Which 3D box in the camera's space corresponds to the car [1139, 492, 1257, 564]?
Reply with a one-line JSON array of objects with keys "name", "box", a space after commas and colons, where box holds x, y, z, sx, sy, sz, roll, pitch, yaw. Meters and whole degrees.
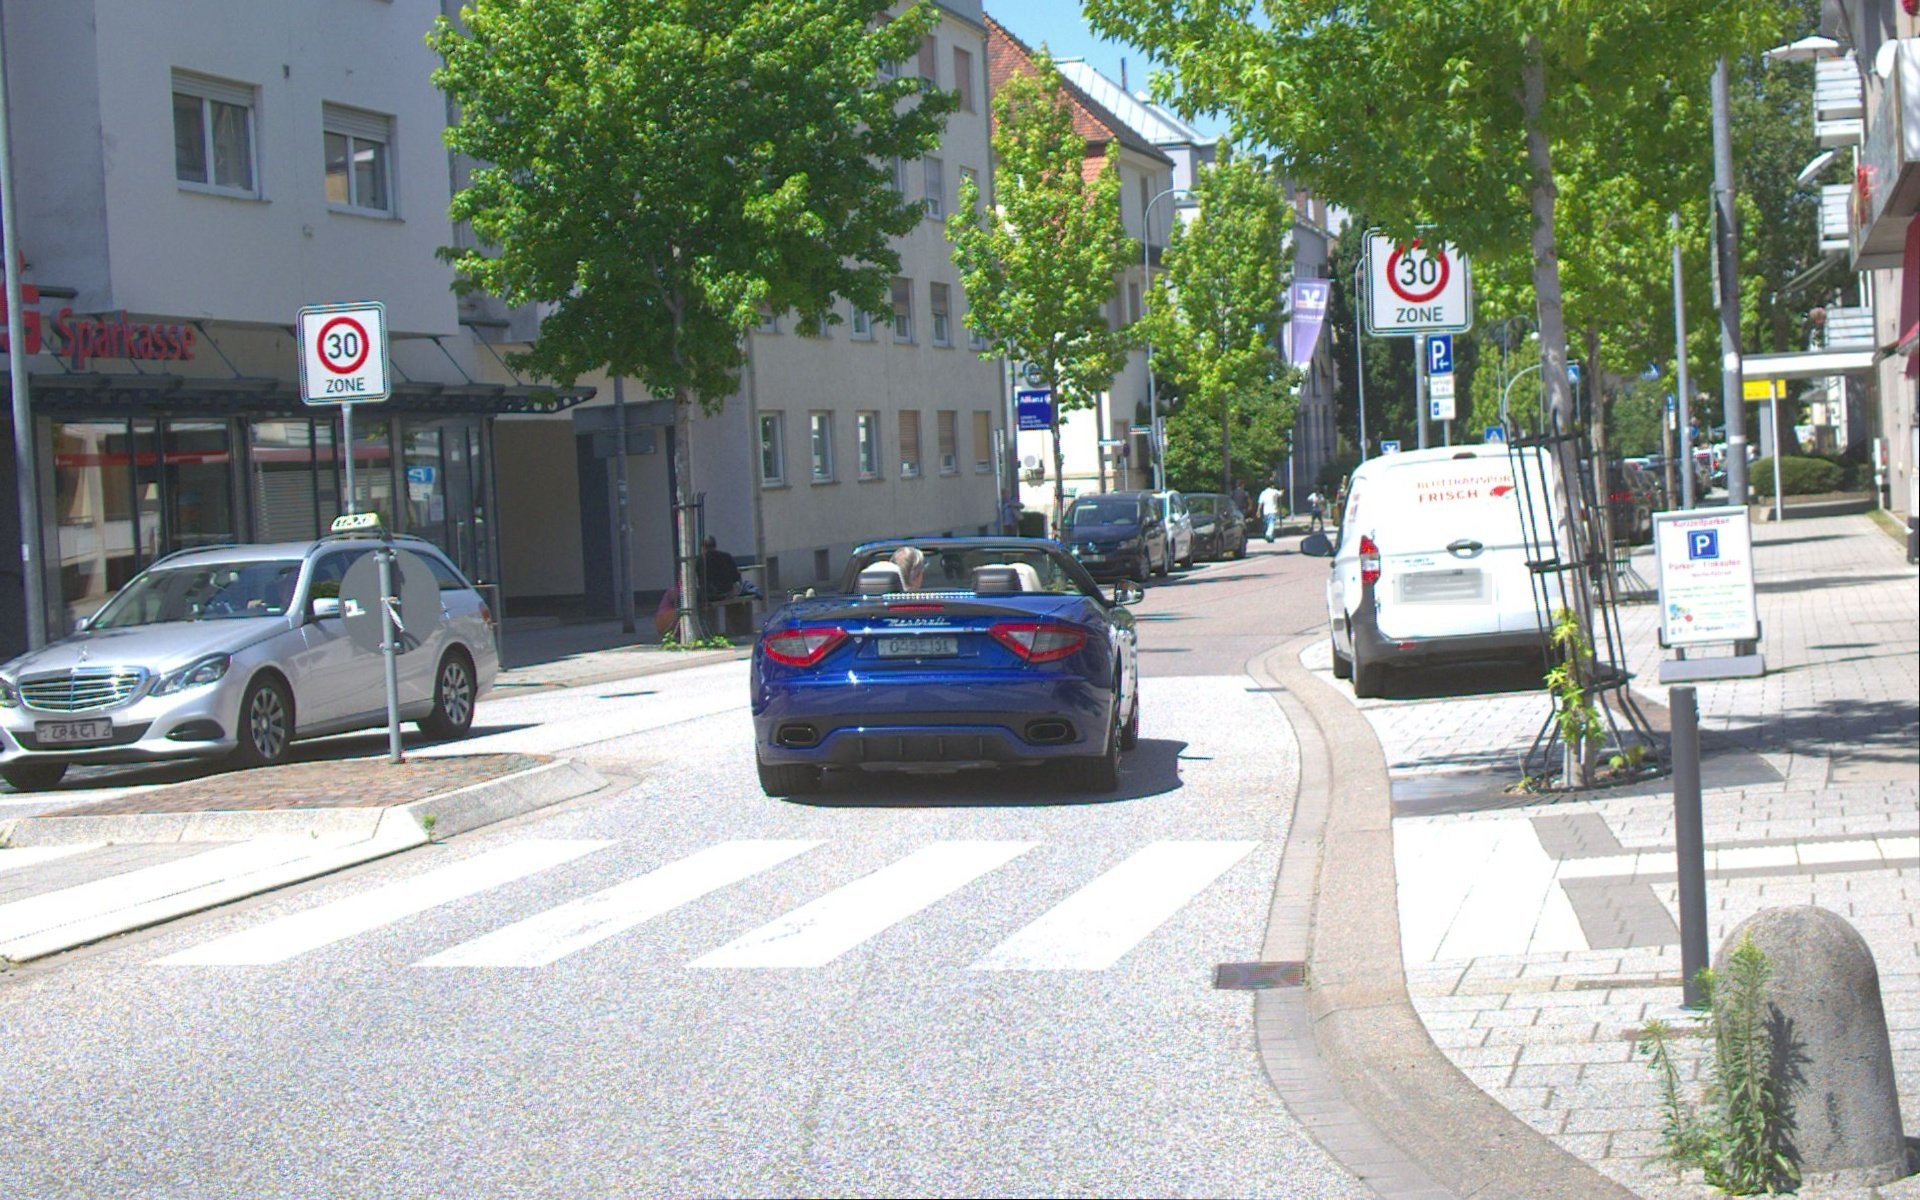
[{"name": "car", "box": [5.319, -1.624, 76.335, 1.755, 1.469, 4.319, -1, 2, 16]}]

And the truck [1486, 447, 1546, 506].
[{"name": "truck", "box": [21.735, -4.835, 134.327, 1.805, 2.110, 4.713, -4, 2, 14]}]

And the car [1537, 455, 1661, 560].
[{"name": "car", "box": [12.970, -1.896, 69.584, 1.995, 1.792, 4.567, -4, 3, 16]}]

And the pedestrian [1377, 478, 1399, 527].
[{"name": "pedestrian", "box": [14.003, -3.202, 112.390, 0.587, 1.569, 0.781, -2, 2, 13]}]

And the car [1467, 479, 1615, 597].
[{"name": "car", "box": [8.809, -0.970, 51.886, 1.723, 1.578, 4.222, -4, 1, 15]}]

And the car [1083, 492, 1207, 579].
[{"name": "car", "box": [3.826, -1.344, 70.323, 1.825, 1.614, 4.391, -1, 3, 12]}]

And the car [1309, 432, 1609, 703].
[{"name": "car", "box": [3.598, -0.279, 25.407, 1.747, 1.718, 3.910, -4, 1, 4]}]

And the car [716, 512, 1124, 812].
[{"name": "car", "box": [-0.111, 0.247, 19.180, 1.976, 1.393, 4.627, -1, 2, 2]}]

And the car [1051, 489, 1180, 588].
[{"name": "car", "box": [2.965, -1.188, 64.803, 1.730, 1.734, 4.391, 0, 3, 12]}]

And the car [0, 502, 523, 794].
[{"name": "car", "box": [-4.866, 0.240, 23.255, 1.995, 1.587, 4.996, -2, 2, 15]}]

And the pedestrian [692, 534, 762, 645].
[{"name": "pedestrian", "box": [-2.976, -0.140, 43.967, 0.568, 1.367, 0.666, -3, 1, 23]}]

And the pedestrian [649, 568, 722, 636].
[{"name": "pedestrian", "box": [-3.595, 0.029, 45.115, 0.665, 0.855, 0.732, -3, -2, 23]}]

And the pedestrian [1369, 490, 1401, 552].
[{"name": "pedestrian", "box": [13.935, -2.594, 112.659, 0.849, 1.909, 0.761, -4, 4, 11]}]

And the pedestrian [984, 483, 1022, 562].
[{"name": "pedestrian", "box": [0.948, -1.727, 76.411, 0.656, 1.674, 0.631, -5, 4, -4]}]

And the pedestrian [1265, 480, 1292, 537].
[{"name": "pedestrian", "box": [8.475, -2.438, 91.544, 0.579, 1.469, 0.564, -2, 2, 13]}]

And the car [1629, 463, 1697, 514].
[{"name": "car", "box": [23.528, -3.734, 114.961, 1.977, 1.445, 4.347, -4, 2, 14]}]

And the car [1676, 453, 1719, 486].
[{"name": "car", "box": [36.542, -6.458, 170.312, 1.952, 1.471, 4.135, -4, 2, 13]}]
